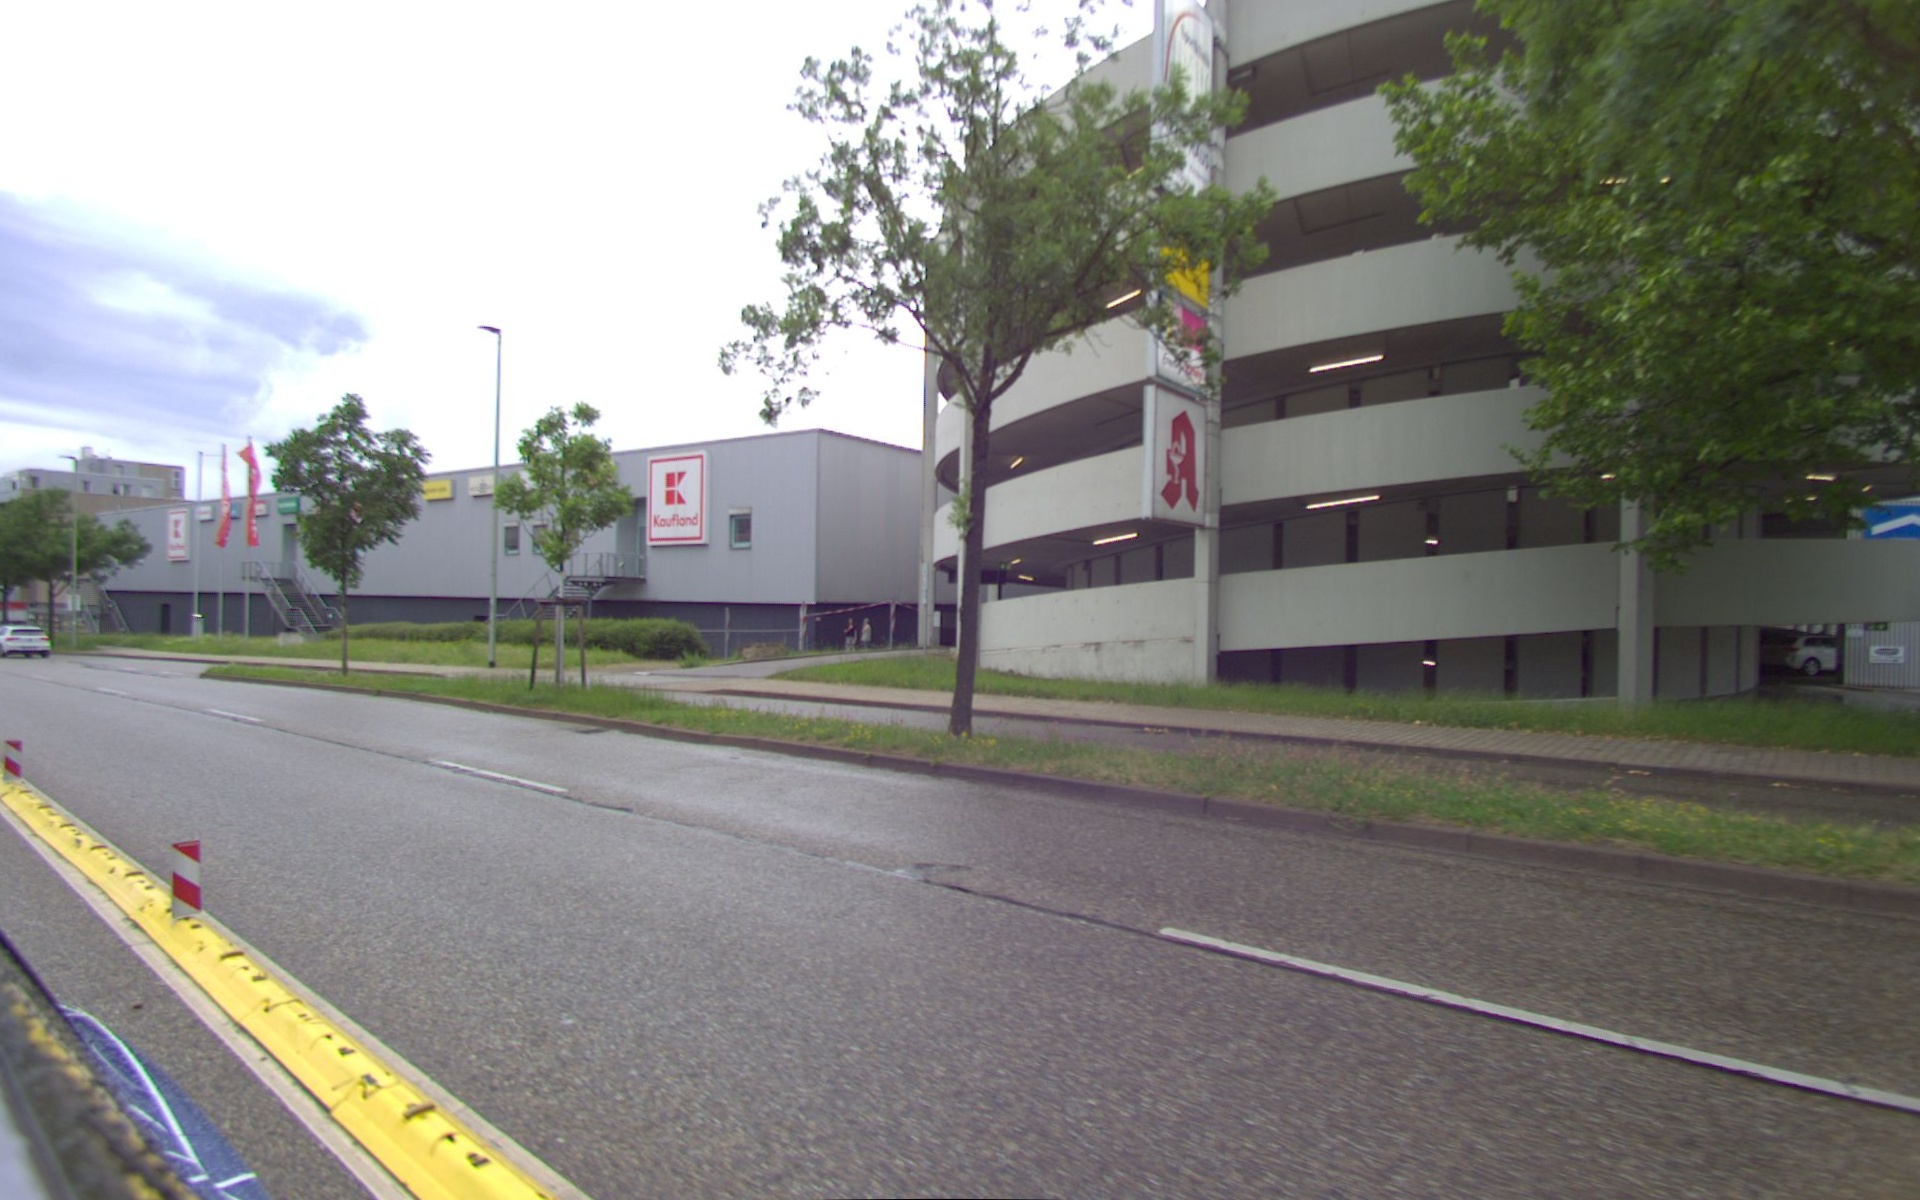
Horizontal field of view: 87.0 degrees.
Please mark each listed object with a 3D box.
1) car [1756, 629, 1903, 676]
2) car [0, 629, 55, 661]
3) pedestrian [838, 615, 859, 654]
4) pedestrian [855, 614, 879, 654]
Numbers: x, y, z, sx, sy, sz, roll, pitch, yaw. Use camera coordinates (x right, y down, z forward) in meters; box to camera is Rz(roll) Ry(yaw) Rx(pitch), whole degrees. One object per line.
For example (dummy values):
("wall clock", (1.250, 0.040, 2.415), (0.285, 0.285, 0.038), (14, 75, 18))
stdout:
("car", (30.854, 1.832, 35.978), (3.787, 1.473, 1.754), (-1, 1, -3))
("car", (-43.605, 2.063, 46.562), (4.412, 1.419, 1.883), (-2, -3, 34))
("pedestrian", (-4.571, 1.402, 41.417), (0.443, 1.587, 0.863), (-2, 1, -41))
("pedestrian", (-3.760, 1.360, 40.838), (0.857, 1.587, 0.446), (-1, 1, 27))
